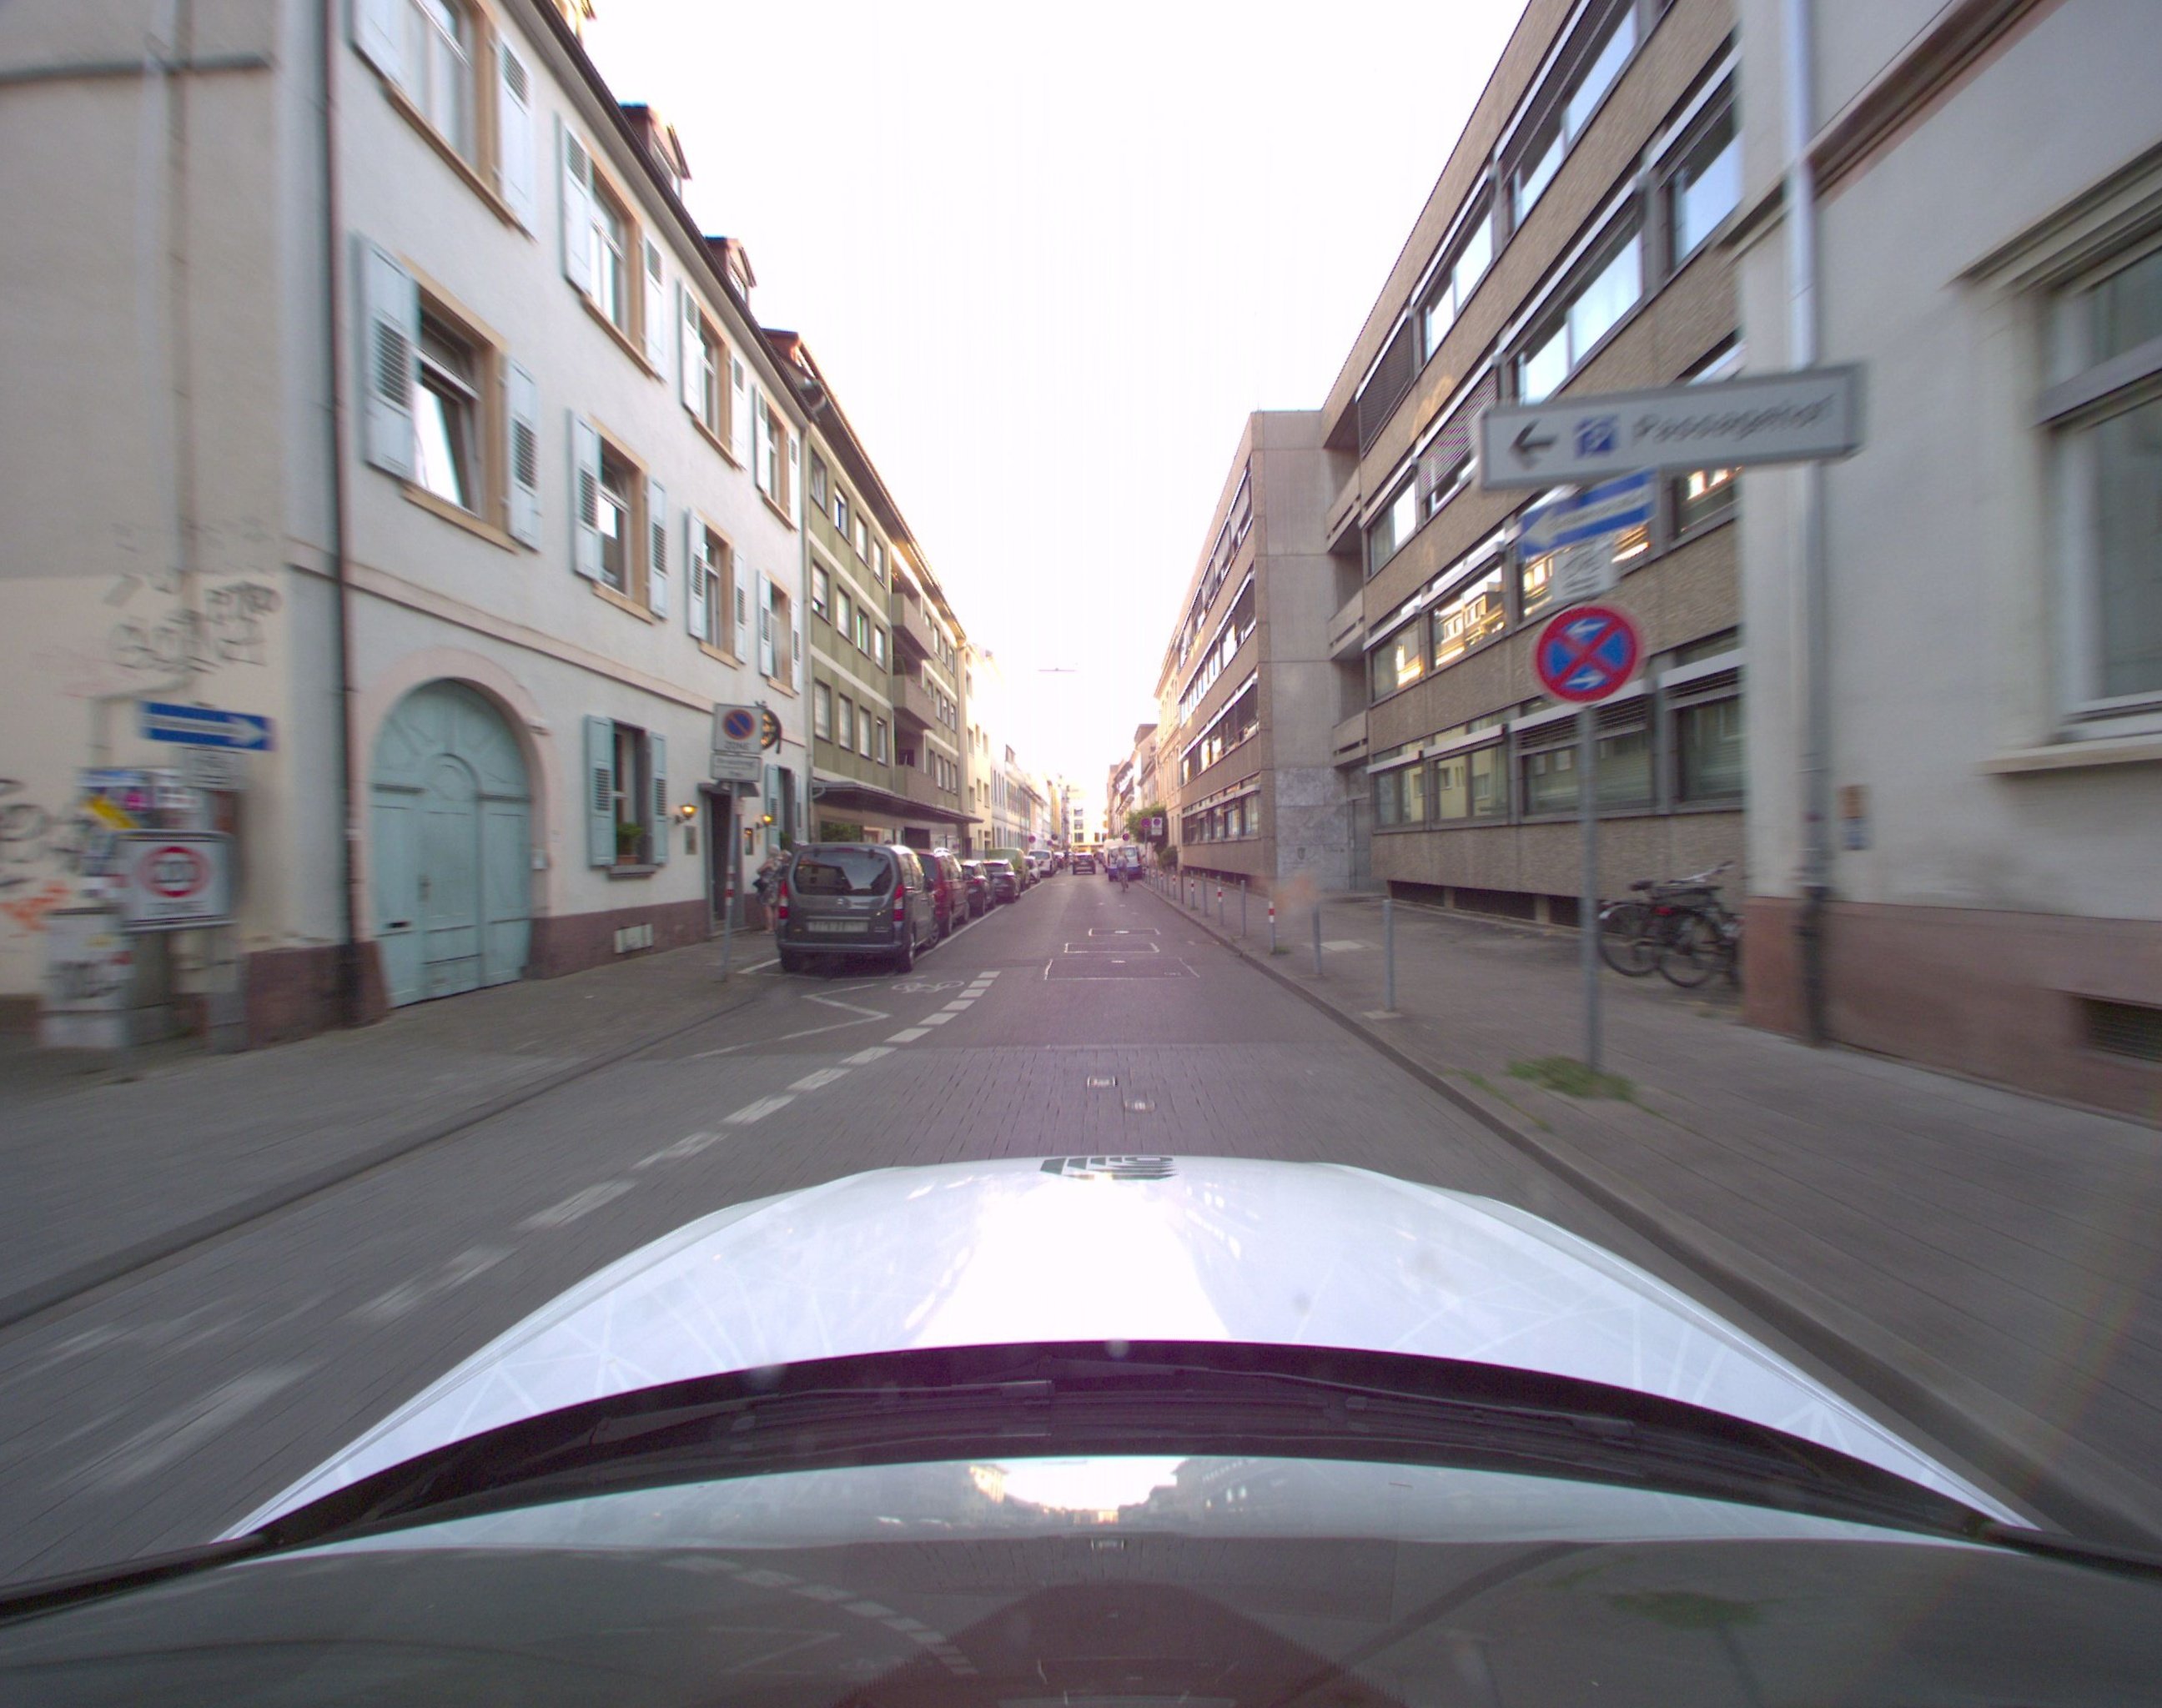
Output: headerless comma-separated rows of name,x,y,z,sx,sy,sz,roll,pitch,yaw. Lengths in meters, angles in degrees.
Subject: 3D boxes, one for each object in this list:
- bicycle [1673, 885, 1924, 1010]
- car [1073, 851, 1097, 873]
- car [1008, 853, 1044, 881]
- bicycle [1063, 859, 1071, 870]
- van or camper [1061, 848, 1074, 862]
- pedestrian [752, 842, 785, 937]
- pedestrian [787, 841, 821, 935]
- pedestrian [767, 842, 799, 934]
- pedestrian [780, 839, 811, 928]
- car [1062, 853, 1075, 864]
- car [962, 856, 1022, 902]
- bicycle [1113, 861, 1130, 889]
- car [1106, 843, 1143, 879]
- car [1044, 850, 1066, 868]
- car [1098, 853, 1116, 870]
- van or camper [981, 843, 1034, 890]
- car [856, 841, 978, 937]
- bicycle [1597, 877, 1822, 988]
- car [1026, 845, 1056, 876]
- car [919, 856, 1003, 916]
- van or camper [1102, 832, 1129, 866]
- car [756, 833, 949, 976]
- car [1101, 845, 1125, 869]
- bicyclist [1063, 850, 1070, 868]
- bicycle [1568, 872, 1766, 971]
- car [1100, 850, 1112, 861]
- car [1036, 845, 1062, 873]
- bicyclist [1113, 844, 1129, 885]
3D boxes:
bicycle,5.965,0.750,6.797,1.794,0.923,0.515,-1,0,-8
car,0.318,0.577,62.167,1.813,1.618,4.000,0,0,0
car,-3.013,0.698,45.001,1.656,1.449,3.521,2,0,0
bicycle,-1.294,0.944,73.298,0.631,0.922,1.780,-1,0,1
van or camper,-2.023,0.128,121.847,1.838,2.013,4.679,0,0,1
pedestrian,-5.856,0.651,15.276,0.404,1.750,0.470,-1,0,2
pedestrian,-5.290,0.641,15.591,0.447,1.750,0.470,-1,0,2
pedestrian,-5.791,0.651,15.834,0.404,1.750,0.470,-1,0,2
pedestrian,-5.749,0.583,16.407,0.404,1.750,0.470,-1,0,2
car,-1.790,0.604,116.102,1.647,1.561,3.606,0,0,1
car,-2.930,0.790,27.586,1.619,1.416,3.979,-1,0,-1
bicycle,1.591,0.814,32.186,0.611,1.082,1.810,-1,0,2
car,2.421,0.361,46.571,1.929,1.898,5.278,-2,0,1
car,-2.603,0.511,81.711,1.796,1.676,4.492,-2,0,2
car,2.786,0.766,86.408,1.812,1.530,5.074,-5,0,2
van or camper,-3.137,0.509,35.640,1.765,1.848,4.180,-2,0,2
car,-3.417,0.657,17.834,1.767,1.811,4.509,-1,0,0
bicycle,5.811,0.705,7.554,1.794,0.923,0.537,-1,0,-8
car,-2.778,0.444,57.867,1.857,2.013,5.104,-2,0,-1
car,-3.233,0.818,22.617,1.618,1.485,3.878,-2,0,1
van or camper,2.787,-0.403,66.674,2.042,2.637,7.065,-2,0,2
car,-3.296,0.648,12.701,1.872,1.811,4.447,-1,0,-2
car,2.887,0.279,74.129,1.935,1.894,5.317,-5,0,1
bicyclist,-1.300,0.425,73.227,0.621,1.639,1.082,-1,0,1
bicycle,6.005,0.675,8.369,1.737,0.923,0.537,-1,0,-7
car,3.601,0.228,116.162,1.647,1.561,3.606,0,0,1
car,-2.483,0.378,64.548,1.857,2.013,4.812,-2,0,-1
bicyclist,1.577,0.405,32.175,0.618,1.574,0.684,-1,0,2
